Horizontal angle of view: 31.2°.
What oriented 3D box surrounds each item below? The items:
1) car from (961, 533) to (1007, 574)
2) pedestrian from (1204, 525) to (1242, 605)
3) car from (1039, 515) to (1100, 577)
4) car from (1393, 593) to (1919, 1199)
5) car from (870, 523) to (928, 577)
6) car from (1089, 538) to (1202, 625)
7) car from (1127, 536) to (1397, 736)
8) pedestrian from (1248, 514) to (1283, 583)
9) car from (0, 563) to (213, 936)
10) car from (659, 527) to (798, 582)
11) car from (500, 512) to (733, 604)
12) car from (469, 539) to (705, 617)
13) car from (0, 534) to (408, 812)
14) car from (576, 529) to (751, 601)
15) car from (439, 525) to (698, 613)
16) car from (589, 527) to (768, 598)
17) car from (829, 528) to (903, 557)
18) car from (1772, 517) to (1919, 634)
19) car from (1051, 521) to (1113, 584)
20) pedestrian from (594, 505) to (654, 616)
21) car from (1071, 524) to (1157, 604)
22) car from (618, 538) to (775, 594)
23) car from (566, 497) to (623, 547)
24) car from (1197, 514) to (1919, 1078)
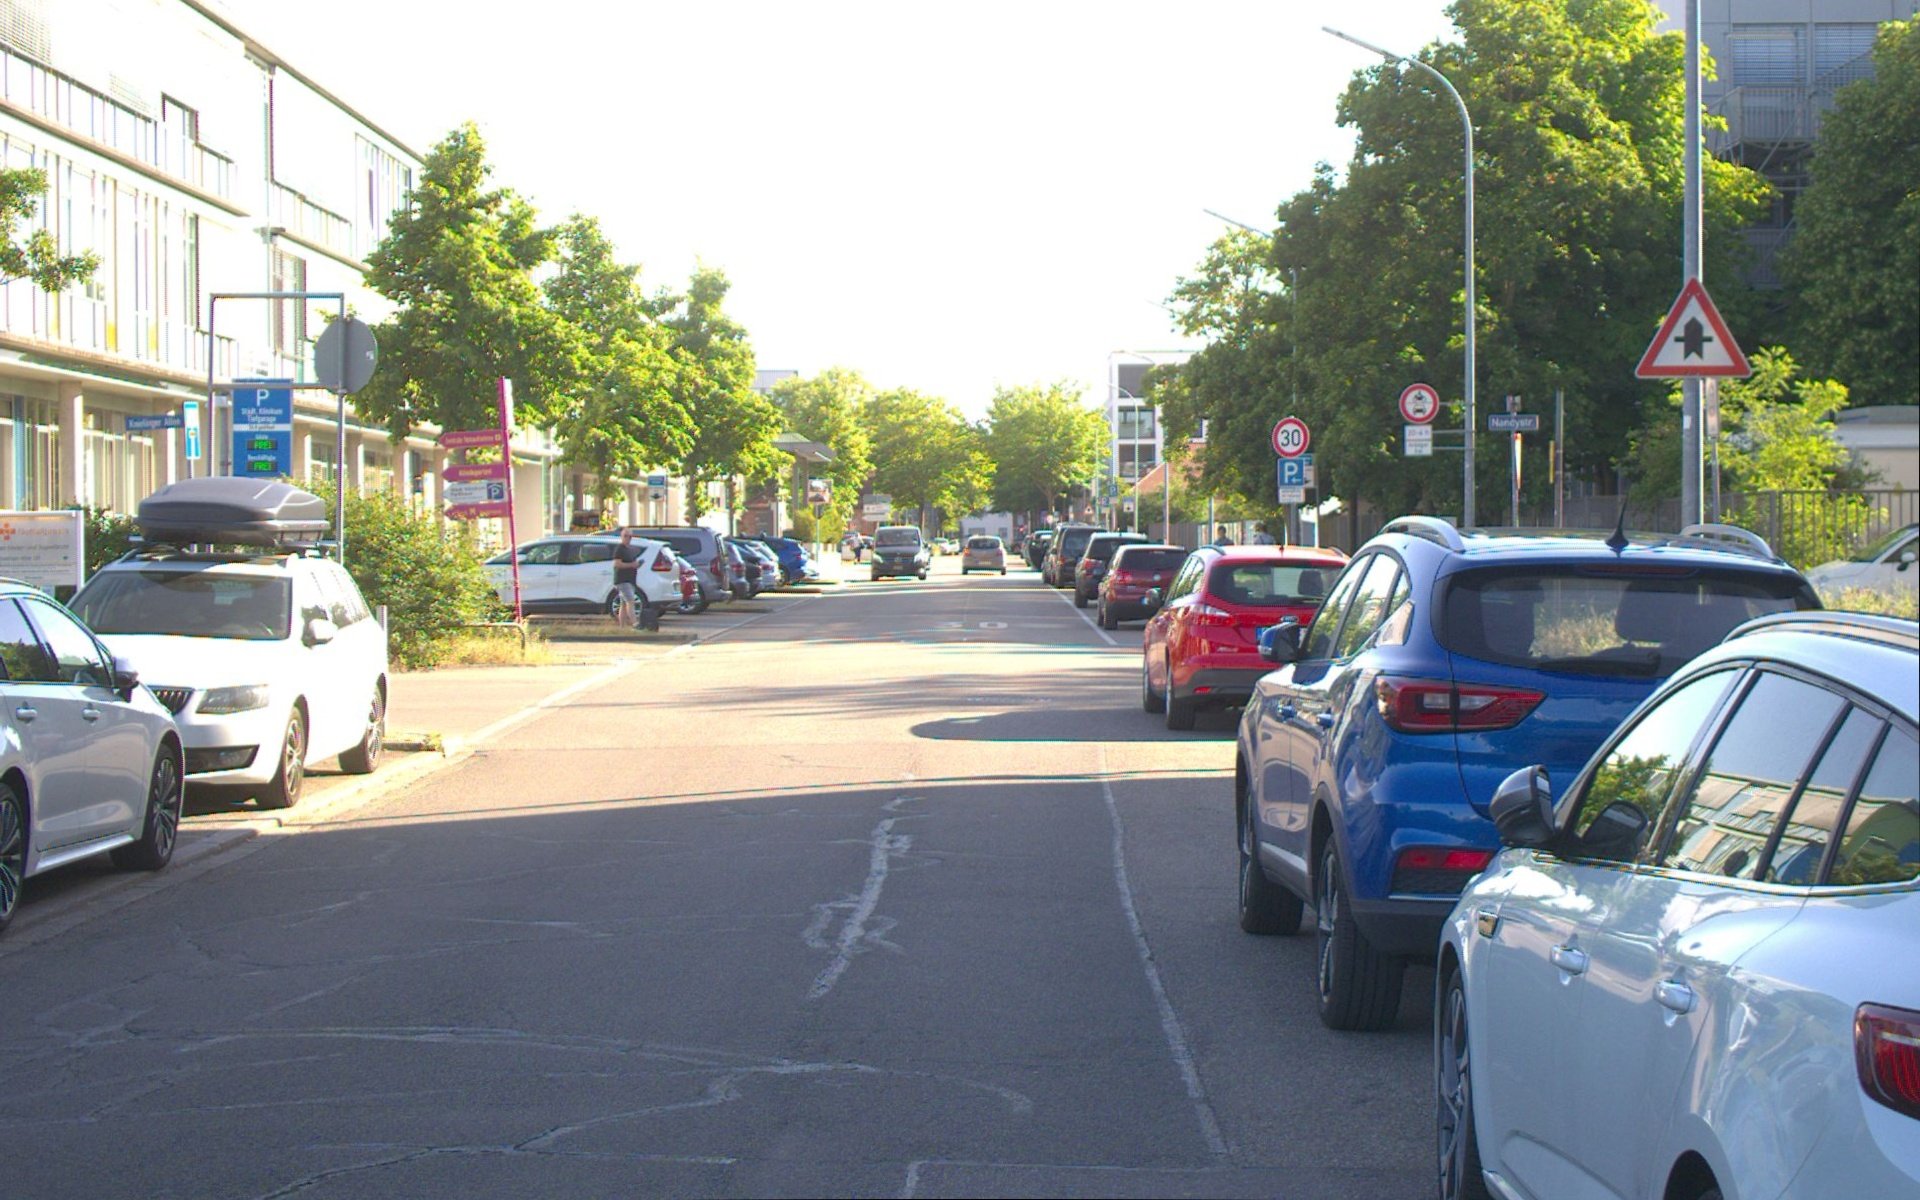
[{"bbox_3d":[0.925,-1.790,132.158,1.743,1.538,4.000,0,1,0],"label":"car"},{"bbox_3d":[5.911,-0.796,77.304,0.717,1.752,0.885,-3,1,1],"label":"pedestrian"},{"bbox_3d":[3.644,-1.812,114.546,1.874,1.971,4.000,-1,1,0],"label":"car"},{"bbox_3d":[1.895,0.759,5.992,1.745,1.424,4.586,1,1,1],"label":"car"},{"bbox_3d":[-2.121,-1.763,120.663,1.955,1.861,5.255,0,1,-1],"label":"car"},{"bbox_3d":[3.260,-0.363,61.070,1.720,1.450,4.652,1,1,0],"label":"car"},{"bbox_3d":[2.437,0.233,28.731,1.819,1.494,4.452,1,1,0],"label":"car"},{"bbox_3d":[7.513,-1.274,84.609,0.698,1.655,0.752,-3,1,0],"label":"pedestrian"},{"bbox_3d":[-4.706,0.586,15.158,1.747,1.441,4.541,1,1,1],"label":"car"},{"bbox_3d":[-7.133,-1.400,106.127,4.213,1.597,1.872,1,1,-3],"label":"car"},{"bbox_3d":[-7.309,-0.905,73.393,4.742,1.858,1.827,1,1,1],"label":"car"},{"bbox_3d":[-7.323,-0.441,67.752,4.434,1.496,1.827,0,1,1],"label":"car"},{"bbox_3d":[-4.698,0.368,21.535,1.696,1.508,4.517,2,1,0],"label":"car"},{"bbox_3d":[-6.900,-0.821,80.384,3.986,1.601,1.872,1,1,-3],"label":"car"},{"bbox_3d":[-7.385,-0.594,65.107,4.612,1.645,1.867,0,1,4],"label":"car"},{"bbox_3d":[-6.803,-0.917,83.337,4.246,1.606,2.048,1,1,-3],"label":"car"},{"bbox_3d":[-5.184,-3.171,189.732,3.987,1.514,2.000,0,0,1],"label":"car"},{"bbox_3d":[12.485,-0.335,44.588,3.546,1.481,1.600,0,1,2],"label":"car"},{"bbox_3d":[3.600,-1.434,102.061,1.733,1.824,3.905,0,1,1],"label":"car"},{"bbox_3d":[-5.623,-0.666,57.621,0.858,1.836,0.825,2,1,2],"label":"pedestrian"},{"bbox_3d":[3.431,-0.828,77.105,1.812,1.660,4.592,1,2,2],"label":"car"},{"bbox_3d":[-6.808,-0.885,89.031,3.986,1.354,1.743,1,1,-3],"label":"car"},{"bbox_3d":[-15.404,-3.260,145.032,1.993,2.007,4.000,0,0,0],"label":"car"},{"bbox_3d":[1.953,0.525,12.269,1.817,1.594,4.628,1,1,0],"label":"car"}]
